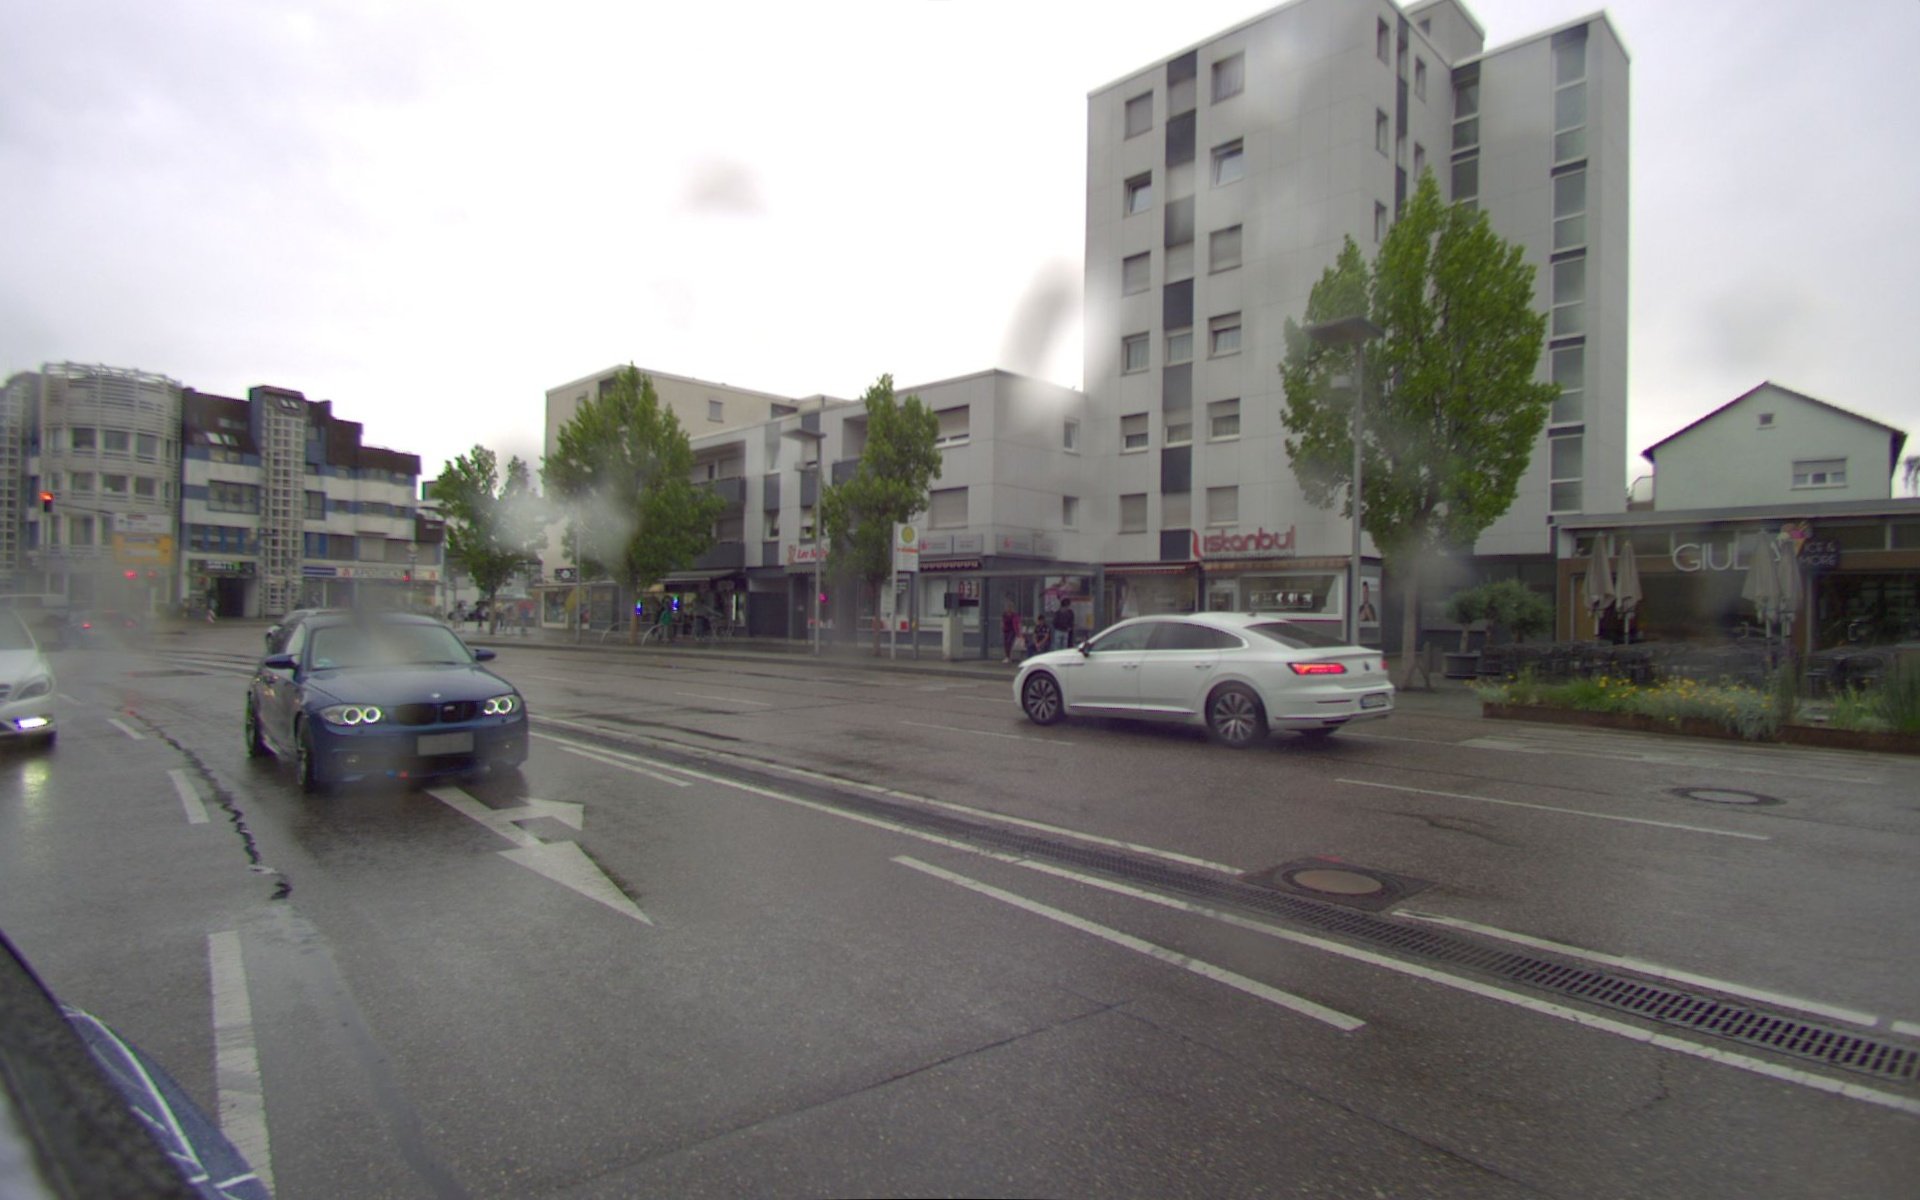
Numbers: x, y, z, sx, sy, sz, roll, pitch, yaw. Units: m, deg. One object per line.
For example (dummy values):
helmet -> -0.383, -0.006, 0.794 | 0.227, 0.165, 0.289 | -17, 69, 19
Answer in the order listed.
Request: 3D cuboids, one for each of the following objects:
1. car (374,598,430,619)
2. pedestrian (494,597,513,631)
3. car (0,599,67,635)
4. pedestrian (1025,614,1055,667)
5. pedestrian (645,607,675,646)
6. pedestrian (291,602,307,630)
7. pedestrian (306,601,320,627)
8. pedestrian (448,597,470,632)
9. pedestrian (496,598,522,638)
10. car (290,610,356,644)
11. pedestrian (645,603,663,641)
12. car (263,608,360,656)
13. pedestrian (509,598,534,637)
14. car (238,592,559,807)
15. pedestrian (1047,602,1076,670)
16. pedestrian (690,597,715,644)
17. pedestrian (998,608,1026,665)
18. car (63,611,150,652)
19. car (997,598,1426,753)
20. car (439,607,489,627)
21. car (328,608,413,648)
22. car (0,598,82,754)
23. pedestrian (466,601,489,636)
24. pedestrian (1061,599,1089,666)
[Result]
car -> -47.262, 0.696, 85.745 | 1.738, 1.733, 3.860 | 0, -1, 26
pedestrian -> -26.852, 0.830, 59.554 | 0.864, 2.029, 0.750 | -1, -2, 43
car -> -54.420, 0.947, 57.919 | 1.992, 2.029, 4.551 | 0, -1, 30
pedestrian -> 2.078, 1.046, 26.360 | 0.528, 1.363, 0.579 | 1, -1, -39
pedestrian -> -12.885, 1.114, 43.478 | 0.727, 1.658, 0.996 | -1, -1, 44
pedestrian -> -42.787, 1.041, 65.518 | 0.826, 1.756, 0.586 | 0, 0, -40
pedestrian -> -43.057, 0.932, 67.378 | 0.672, 1.756, 0.587 | 0, 0, -20
pedestrian -> -27.911, 0.800, 56.382 | 0.892, 1.929, 0.978 | 1, -2, -43
pedestrian -> -23.449, 0.946, 52.622 | 0.978, 2.029, 0.893 | -1, -2, 44
car -> -28.476, 1.155, 45.174 | 1.736, 1.438, 4.894 | 1, -1, -42
pedestrian -> -14.407, 1.019, 47.611 | 0.541, 1.763, 0.681 | 1, -2, -43
car -> -21.402, 1.022, 33.336 | 4.103, 1.477, 1.681 | 0, -2, 43
pedestrian -> -23.160, 0.943, 53.496 | 0.978, 2.029, 0.893 | -1, -2, 44
car -> -5.306, 0.769, 9.323 | 1.652, 1.555, 3.916 | 1, -2, -44
pedestrian -> 2.507, 0.887, 25.043 | 0.472, 1.672, 0.537 | 1, -1, -44
pedestrian -> -11.323, 0.885, 44.447 | 0.749, 2.029, 0.865 | 1, -2, -44
pedestrian -> 1.394, 0.966, 27.050 | 0.611, 1.516, 0.533 | 0, -1, 22
car -> -32.140, 1.177, 38.093 | 3.995, 1.462, 1.740 | -1, -2, 38
car -> 2.742, 0.737, 12.079 | 1.819, 1.472, 4.816 | 0, -1, -41
car -> -45.095, 1.547, 92.119 | 1.738, 1.733, 3.860 | 0, -1, 26
car -> -22.657, 1.074, 38.829 | 4.000, 1.438, 1.738 | -2, -2, 43
car -> -11.354, 0.800, 11.509 | 1.734, 1.561, 4.336 | 0, -1, -36
pedestrian -> -27.232, 1.029, 57.075 | 0.978, 1.929, 0.893 | -1, -2, 44
pedestrian -> 2.910, 0.816, 25.605 | 0.528, 1.672, 0.480 | 1, -1, -39
